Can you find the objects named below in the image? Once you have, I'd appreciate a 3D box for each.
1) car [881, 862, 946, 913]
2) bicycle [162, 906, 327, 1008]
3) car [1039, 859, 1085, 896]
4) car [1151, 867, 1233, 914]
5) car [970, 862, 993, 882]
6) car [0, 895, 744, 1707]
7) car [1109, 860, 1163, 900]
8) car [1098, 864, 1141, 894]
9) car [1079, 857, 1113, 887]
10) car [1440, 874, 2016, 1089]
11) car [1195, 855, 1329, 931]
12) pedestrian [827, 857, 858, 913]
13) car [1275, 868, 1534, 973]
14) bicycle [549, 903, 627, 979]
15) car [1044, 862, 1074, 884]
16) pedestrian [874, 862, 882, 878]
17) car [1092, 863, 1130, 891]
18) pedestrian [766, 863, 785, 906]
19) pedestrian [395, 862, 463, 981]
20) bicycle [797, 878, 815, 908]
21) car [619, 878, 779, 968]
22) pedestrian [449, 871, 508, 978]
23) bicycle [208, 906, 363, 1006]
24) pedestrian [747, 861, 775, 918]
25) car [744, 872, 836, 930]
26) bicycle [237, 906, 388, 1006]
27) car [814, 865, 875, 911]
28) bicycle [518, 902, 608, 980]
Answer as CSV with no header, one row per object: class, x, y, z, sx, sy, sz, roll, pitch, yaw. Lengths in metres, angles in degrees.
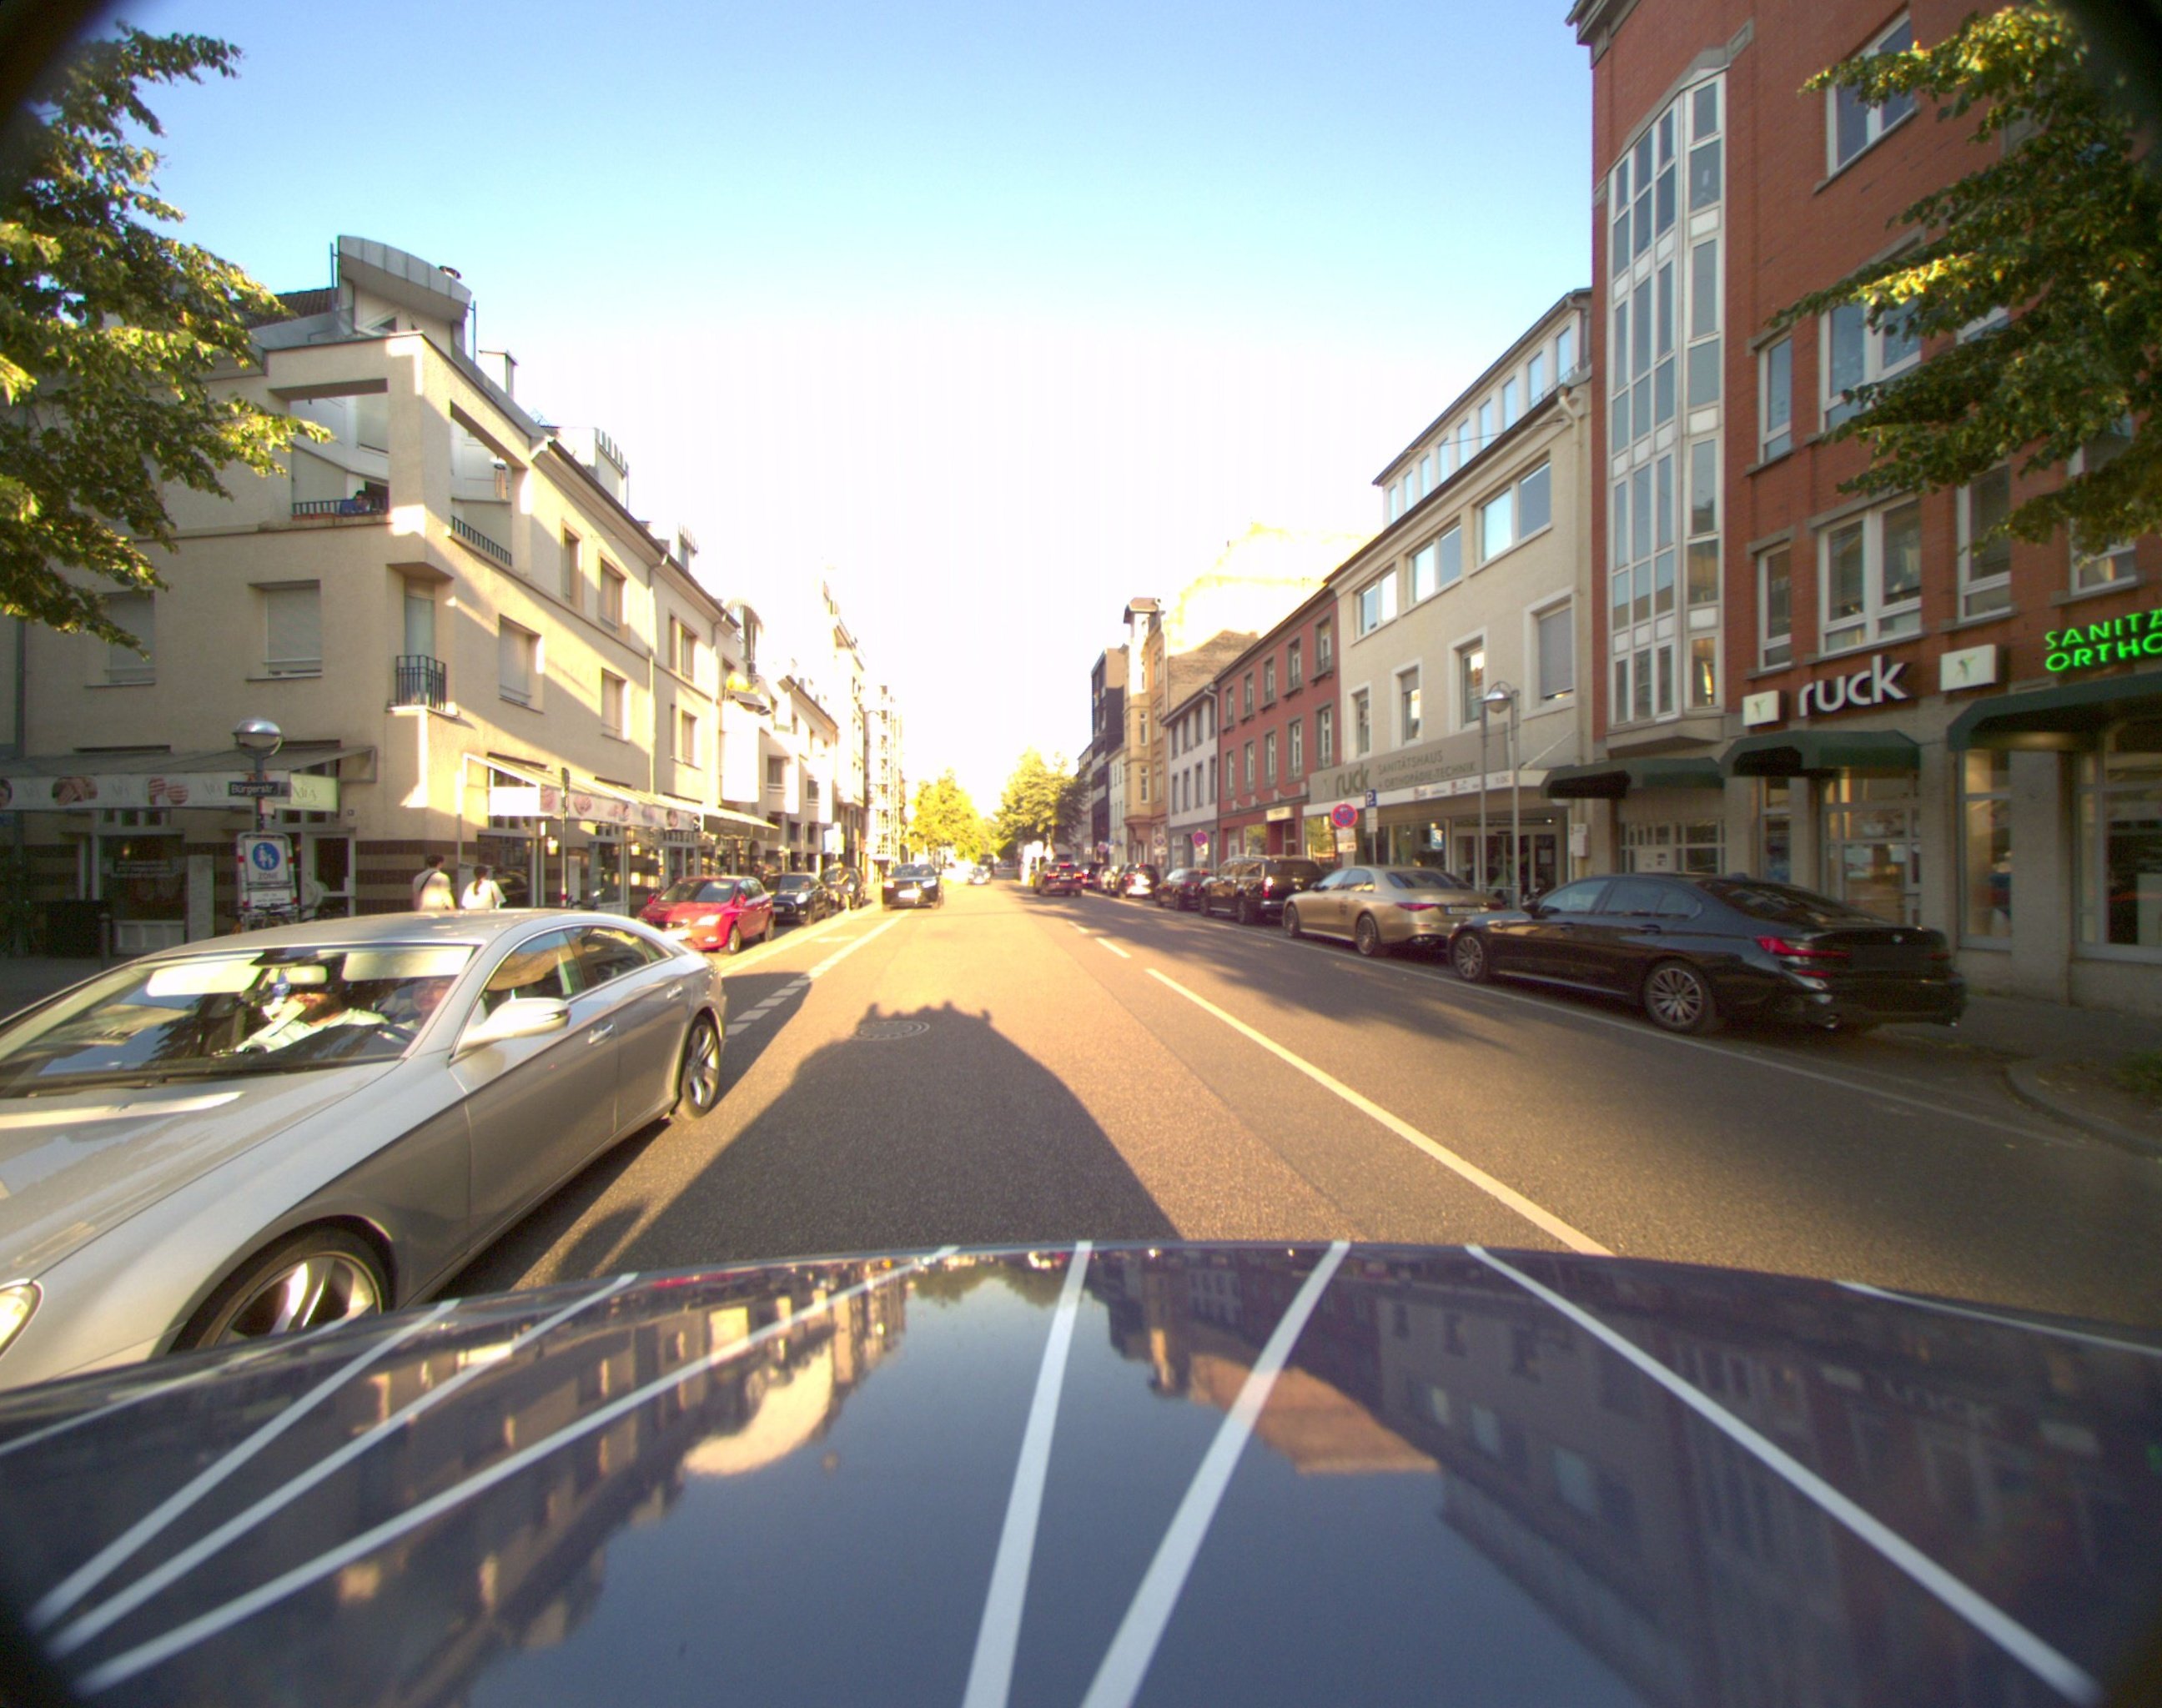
car,-5.946,1.143,27.455,1.891,1.626,4.224,-2,0,-8
bicycle,-11.081,1.315,10.158,0.322,1.098,1.878,-1,0,-7
car,-0.986,1.096,36.724,1.736,1.665,4.293,-1,-1,-7
car,3.760,1.222,26.483,1.707,1.429,4.011,2,-1,-8
car,-7.750,1.379,59.078,1.623,1.465,3.686,-2,0,-8
car,-2.998,1.047,3.068,1.748,1.393,4.635,-2,1,-8
car,2.463,1.151,34.985,1.726,1.673,4.047,2,-1,-6
car,1.993,1.297,40.107,1.690,1.461,3.689,2,-1,-6
car,0.916,1.104,47.889,1.674,1.763,3.563,2,-1,-6
car,5.873,1.011,7.851,1.726,1.464,4.538,2,-1,-7
car,4.638,0.953,20.339,1.726,1.768,4.935,1,-1,-9
pedestrian,-8.274,1.072,26.370,0.779,1.872,0.669,-4,1,-8
car,5.352,1.015,13.553,2.000,1.463,5.104,1,-1,-6
bicycle,-8.000,1.381,12.397,0.315,1.040,1.664,0,0,-5
car,-1.619,1.341,54.895,1.674,1.512,3.562,1,0,-8
pedestrian,-16.578,1.308,62.041,0.492,1.256,0.421,-2,1,-7
car,1.672,1.300,44.060,1.674,1.448,3.563,2,-1,-6
pedestrian,-12.892,1.268,32.026,0.576,1.789,0.450,-2,1,-7
pedestrian,-9.826,1.004,11.469,0.545,1.748,0.502,2,0,-8
bicycle,-10.608,1.509,29.327,0.296,1.079,1.462,-1,0,-7
car,-7.196,1.218,14.747,1.594,1.425,3.923,0,0,-8
pedestrian,-9.169,1.068,11.573,0.521,1.583,0.408,2,0,-8
bicycle,-10.608,1.310,10.223,0.291,1.098,1.886,-1,0,-7
pedestrian,-9.902,1.081,23.527,0.631,1.739,0.669,0,0,-8
car,-8.226,1.271,21.777,1.622,1.425,3.923,0,0,-8
bicycle,-10.289,1.315,10.261,0.322,1.098,1.878,-1,0,-7
car,-9.027,1.236,29.227,1.622,1.583,3.923,-1,0,-8
bicycle,-8.339,1.362,12.315,0.315,1.040,1.881,0,0,-5
